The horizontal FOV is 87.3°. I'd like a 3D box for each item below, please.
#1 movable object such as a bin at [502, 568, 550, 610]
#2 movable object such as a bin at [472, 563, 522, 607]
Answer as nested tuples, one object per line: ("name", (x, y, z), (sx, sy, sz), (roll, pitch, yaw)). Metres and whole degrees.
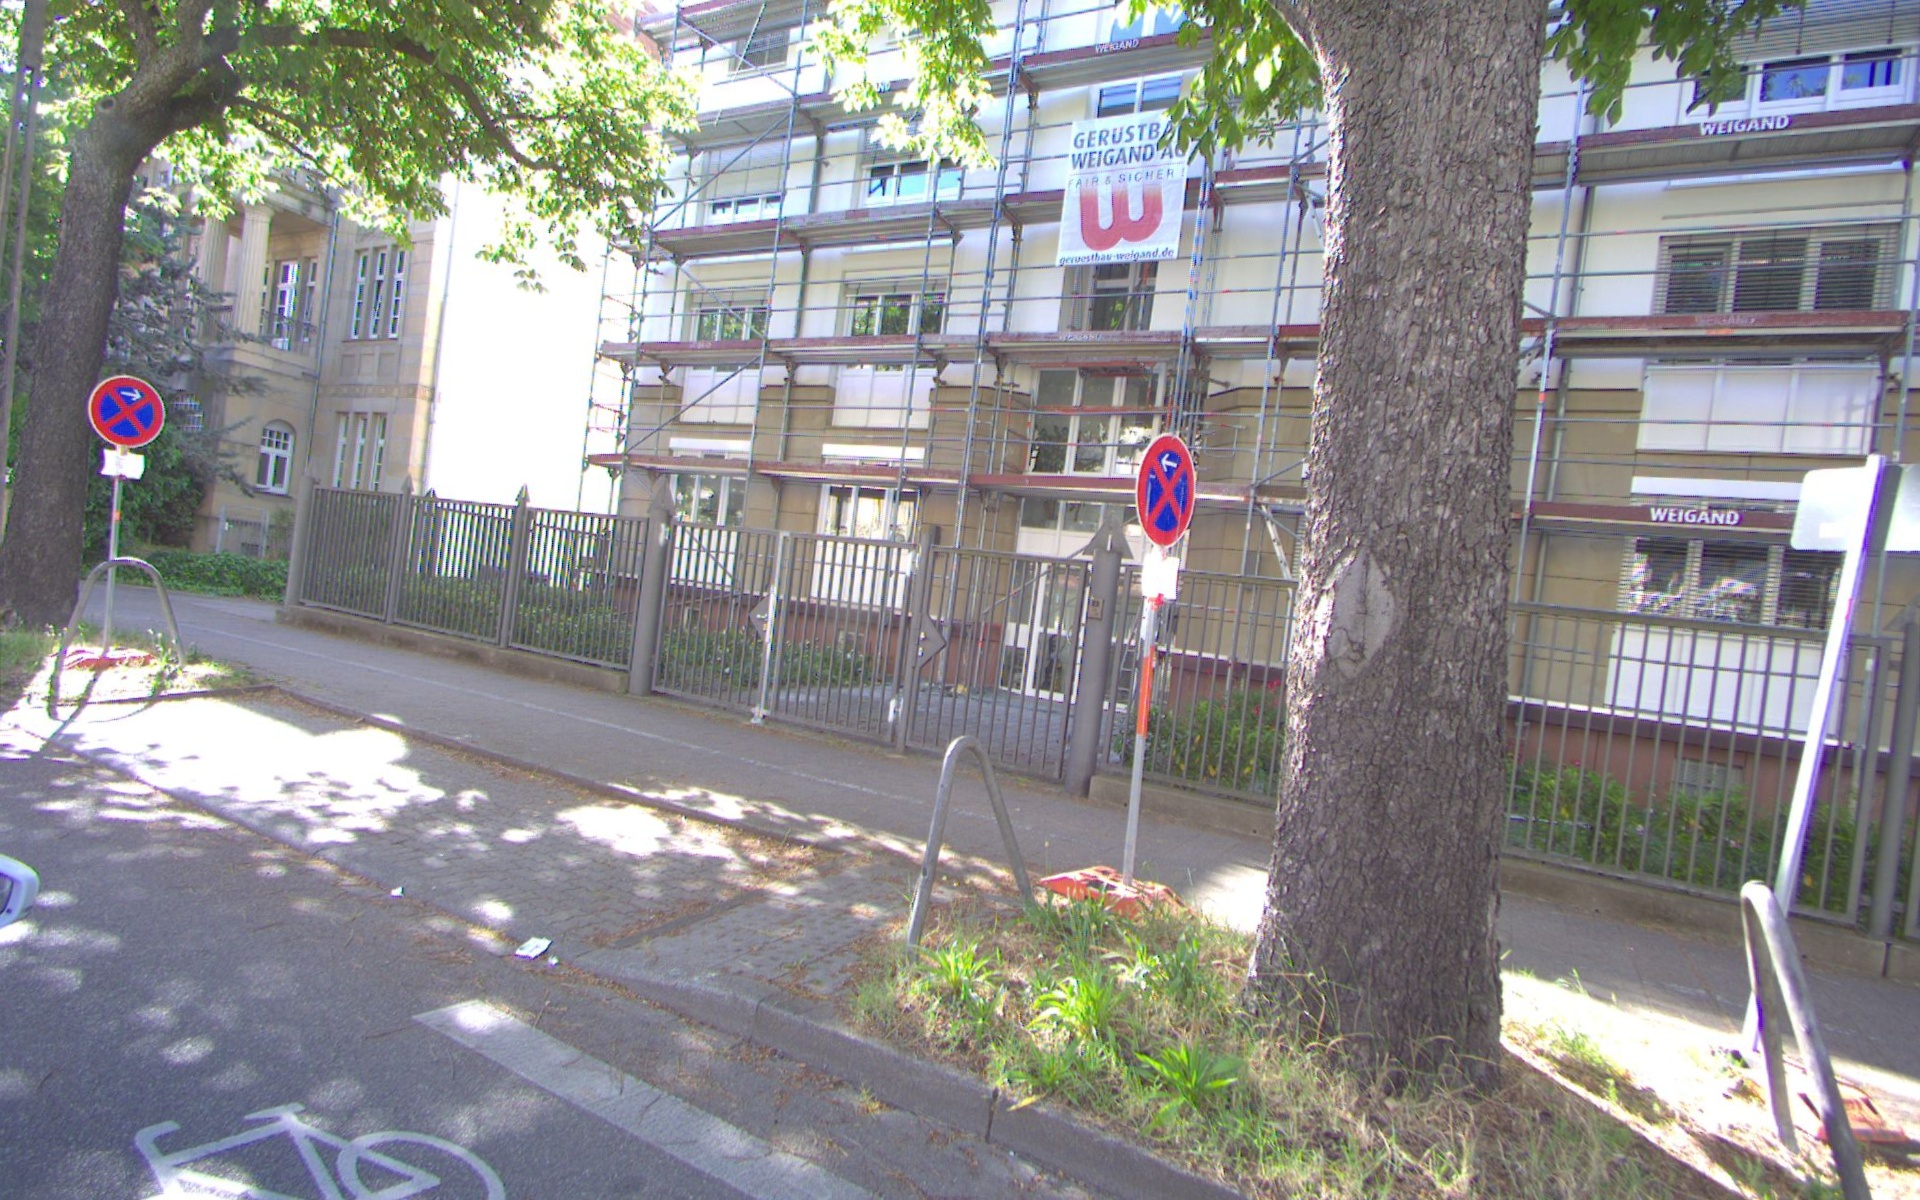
("movable object such as a bin", (-11.296, -0.287, 26.203), (0.637, 0.966, 0.835), (6, -2, 30))
("movable object such as a bin", (-11.717, -0.372, 25.446), (0.637, 0.966, 0.835), (6, -2, 30))
